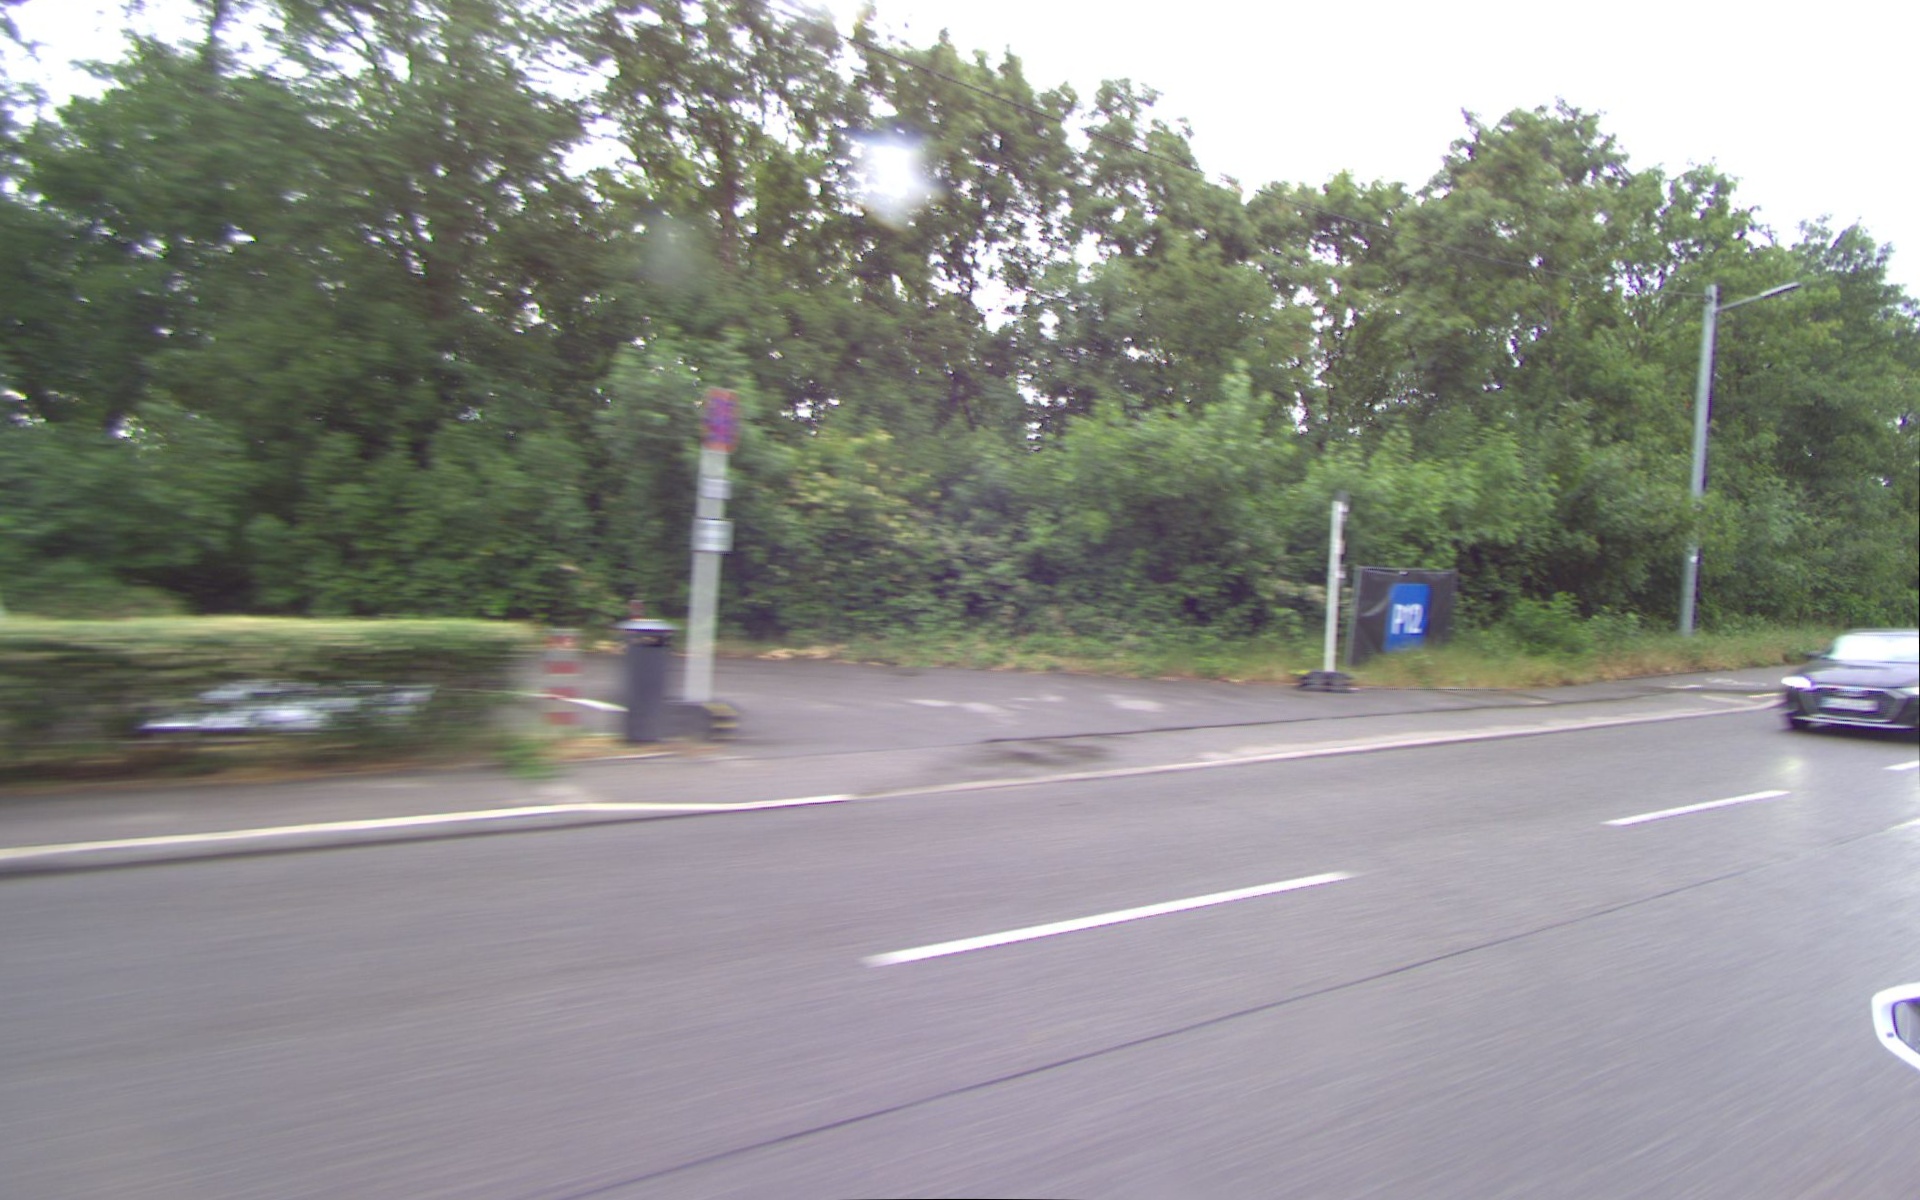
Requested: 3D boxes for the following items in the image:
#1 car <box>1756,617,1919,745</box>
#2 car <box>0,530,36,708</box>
[{"bbox_3d":[13.217,1.063,14.266,4.277,1.518,1.921,1,1,-36],"label":"car"},{"bbox_3d":[-9.061,0.180,7.934,1.830,1.612,3.626,1,1,-30],"label":"car"}]
